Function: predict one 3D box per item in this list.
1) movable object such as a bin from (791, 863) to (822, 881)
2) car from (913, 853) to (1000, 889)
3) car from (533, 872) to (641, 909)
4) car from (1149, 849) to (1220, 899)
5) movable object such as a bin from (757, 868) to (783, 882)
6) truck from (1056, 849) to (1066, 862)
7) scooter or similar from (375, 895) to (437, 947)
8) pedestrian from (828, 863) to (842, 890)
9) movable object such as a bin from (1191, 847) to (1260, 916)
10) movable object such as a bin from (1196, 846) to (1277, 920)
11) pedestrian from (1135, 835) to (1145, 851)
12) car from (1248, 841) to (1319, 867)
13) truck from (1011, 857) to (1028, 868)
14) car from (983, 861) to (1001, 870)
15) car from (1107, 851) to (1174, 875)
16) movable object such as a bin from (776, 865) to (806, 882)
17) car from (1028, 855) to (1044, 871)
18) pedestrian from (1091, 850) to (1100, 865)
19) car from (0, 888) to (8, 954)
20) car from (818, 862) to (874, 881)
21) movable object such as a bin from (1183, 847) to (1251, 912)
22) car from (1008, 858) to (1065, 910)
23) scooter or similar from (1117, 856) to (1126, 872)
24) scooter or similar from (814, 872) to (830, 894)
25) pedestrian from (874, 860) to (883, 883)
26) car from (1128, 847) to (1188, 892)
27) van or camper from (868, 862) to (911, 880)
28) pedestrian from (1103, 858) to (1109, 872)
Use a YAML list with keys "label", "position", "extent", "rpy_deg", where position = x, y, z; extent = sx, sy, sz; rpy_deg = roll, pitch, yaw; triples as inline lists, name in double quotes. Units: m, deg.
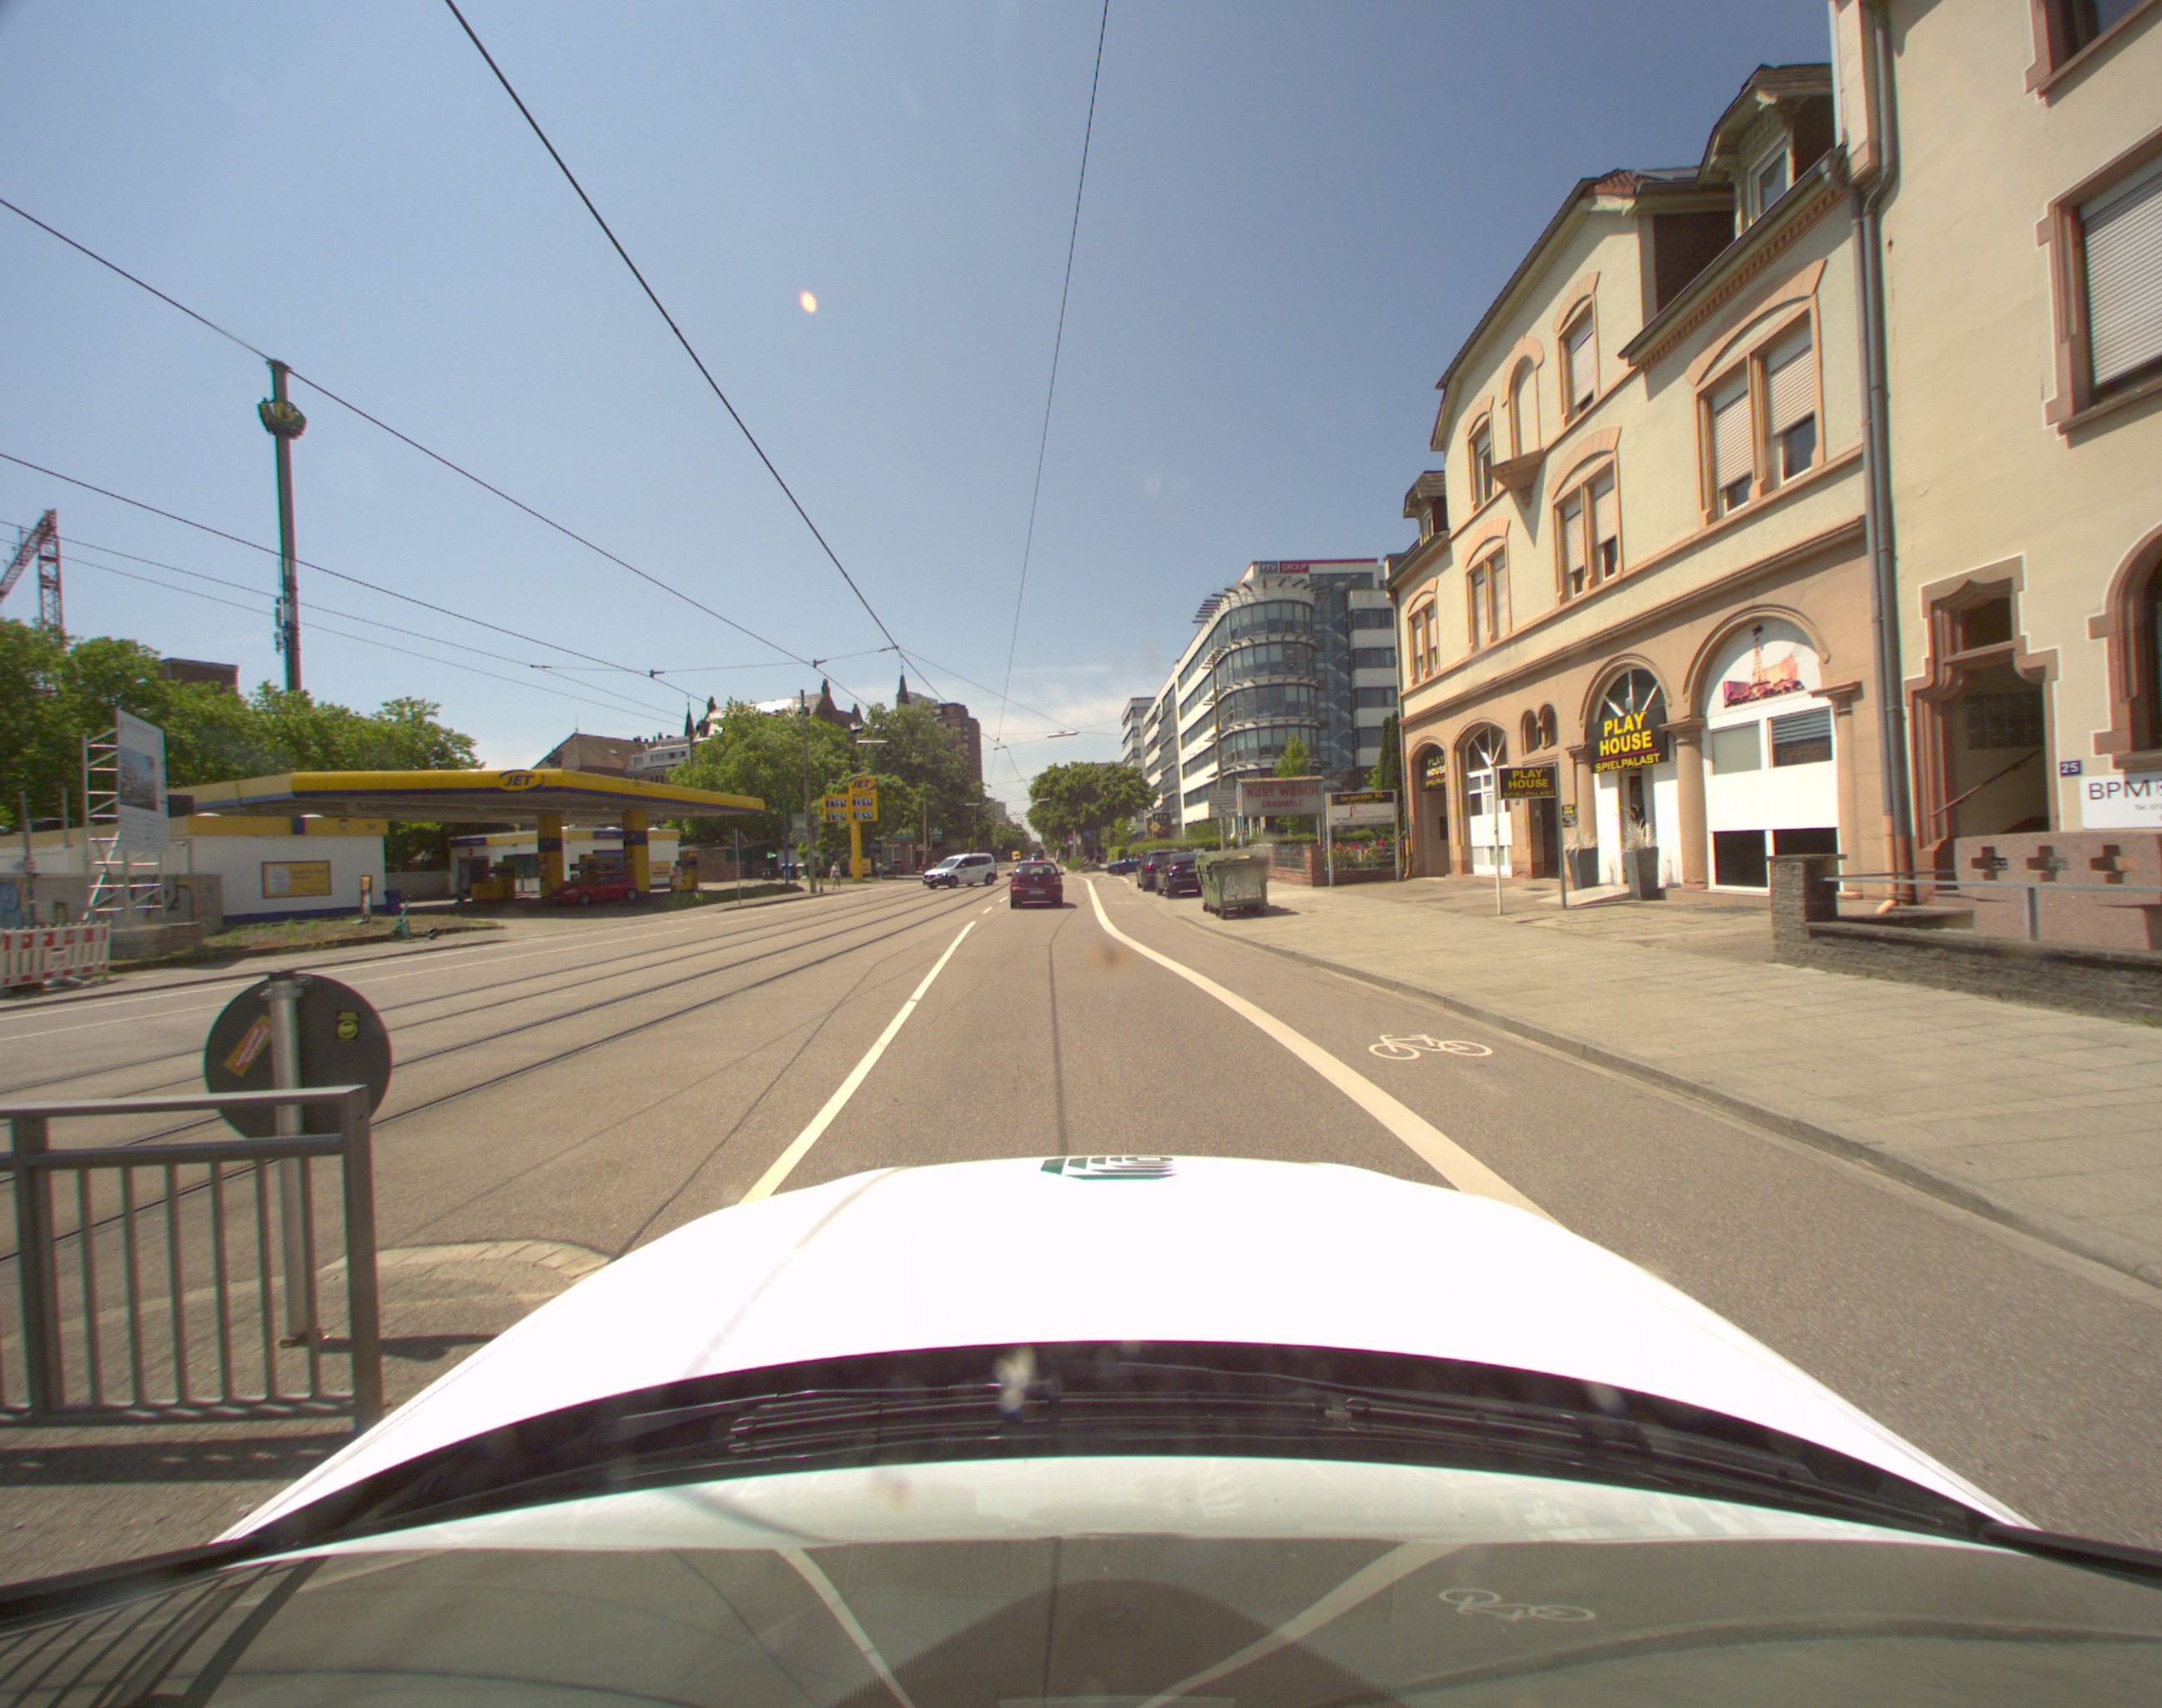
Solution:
- label: "movable object such as a bin"
  position: [-24.032, 1.561, 71.265]
  extent: [1.508, 1.509, 2.111]
  rpy_deg: [-1, 0, 22]
- label: "car"
  position: [-6.829, 0.907, 45.058]
  extent: [1.974, 1.799, 4.582]
  rpy_deg: [-2, 0, 38]
- label: "car"
  position: [-23.806, 1.717, 39.426]
  extent: [1.810, 1.504, 4.221]
  rpy_deg: [-1, 2, 21]
- label: "car"
  position: [3.628, 0.685, 29.343]
  extent: [1.768, 1.548, 4.464]
  rpy_deg: [-4, 0, -2]
- label: "movable object such as a bin"
  position: [-27.546, 1.852, 72.118]
  extent: [1.392, 1.138, 1.573]
  rpy_deg: [-1, 0, 22]
- label: "truck"
  position: [-4.264, 0.335, 175.165]
  extent: [1.989, 2.662, 4.870]
  rpy_deg: [-1, 0, -2]
- label: "scooter or similar"
  position: [-18.131, 1.781, 21.883]
  extent: [0.342, 1.264, 1.249]
  rpy_deg: [-1, 0, 23]
- label: "pedestrian"
  position: [-15.358, 1.398, 50.857]
  extent: [0.623, 1.691, 0.722]
  rpy_deg: [-2, 0, 1]
- label: "movable object such as a bin"
  position: [3.343, 0.615, 18.983]
  extent: [1.245, 1.455, 1.056]
  rpy_deg: [-5, 0, -6]
- label: "movable object such as a bin"
  position: [3.396, 0.611, 17.879]
  extent: [1.390, 1.455, 1.137]
  rpy_deg: [-5, 0, -6]
- label: "pedestrian"
  position: [6.742, -1.239, 92.875]
  extent: [0.869, 1.715, 1.092]
  rpy_deg: [-4, -1, 7]
- label: "car"
  position: [13.168, -0.008, 53.073]
  extent: [4.133, 1.459, 1.818]
  rpy_deg: [-3, 0, 1]
- label: "truck"
  position: [-16.644, 2.251, 219.564]
  extent: [2.353, 2.787, 7.346]
  rpy_deg: [-3, 0, 13]
- label: "car"
  position: [-21.655, 2.798, 197.847]
  extent: [3.972, 2.013, 2.001]
  rpy_deg: [-3, 0, 1]
- label: "car"
  position: [3.785, 0.577, 51.972]
  extent: [3.880, 1.372, 1.712]
  rpy_deg: [-3, -1, 22]
- label: "movable object such as a bin"
  position: [-25.564, 1.688, 71.835]
  extent: [1.508, 1.432, 2.111]
  rpy_deg: [-1, 0, 22]
- label: "car"
  position: [-5.952, 1.120, 107.491]
  extent: [1.990, 2.013, 3.994]
  rpy_deg: [-1, 0, -4]
- label: "pedestrian"
  position: [1.818, 0.413, 103.414]
  extent: [0.682, 1.796, 0.667]
  rpy_deg: [-4, 0, -34]
- label: "car"
  position: [-31.392, 1.856, 21.920]
  extent: [4.227, 1.746, 1.902]
  rpy_deg: [-1, 0, 21]
- label: "car"
  position: [-20.755, 1.539, 72.178]
  extent: [1.910, 1.488, 4.480]
  rpy_deg: [-1, 0, 37]
- label: "movable object such as a bin"
  position: [3.342, 0.608, 20.058]
  extent: [1.322, 1.455, 1.056]
  rpy_deg: [-5, 0, -6]
- label: "car"
  position: [-1.508, 0.889, 26.225]
  extent: [1.617, 1.486, 3.992]
  rpy_deg: [-1, 0, -6]
- label: "scooter or similar"
  position: [3.095, 0.776, 62.211]
  extent: [0.323, 1.222, 1.157]
  rpy_deg: [-1, 0, 19]
- label: "scooter or similar"
  position: [-14.531, 1.622, 45.659]
  extent: [0.518, 1.200, 1.374]
  rpy_deg: [-1, 0, -5]
- label: "pedestrian"
  position: [-15.860, 1.360, 63.782]
  extent: [0.579, 1.775, 0.698]
  rpy_deg: [-1, 0, -6]
- label: "car"
  position: [3.250, 0.634, 35.365]
  extent: [1.919, 1.693, 5.079]
  rpy_deg: [-4, 0, -1]
- label: "van or camper"
  position: [-18.904, 1.642, 80.491]
  extent: [3.775, 1.629, 1.870]
  rpy_deg: [-1, 1, -3]
- label: "pedestrian"
  position: [3.187, 1.430, 103.713]
  extent: [0.540, 1.715, 0.560]
  rpy_deg: [-4, -1, -32]
